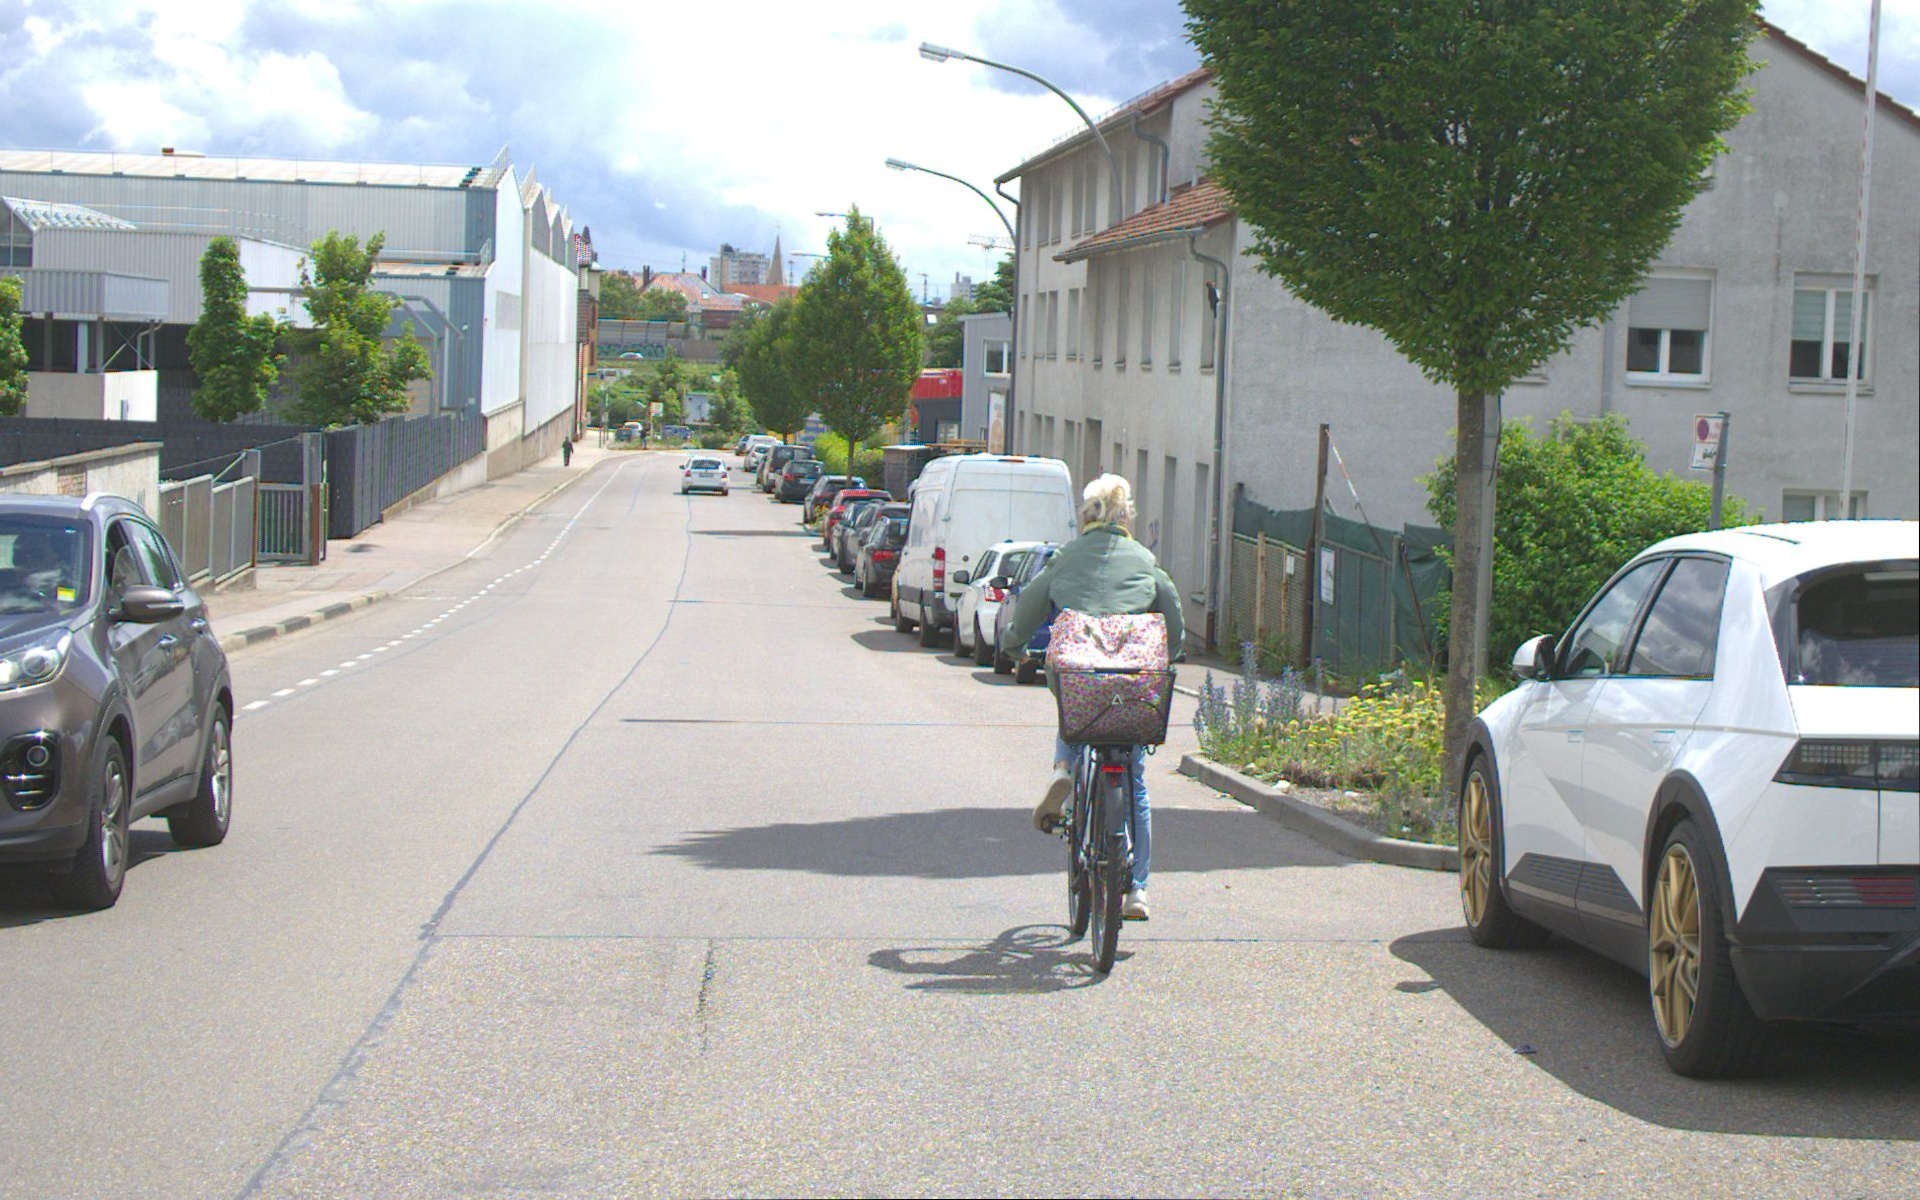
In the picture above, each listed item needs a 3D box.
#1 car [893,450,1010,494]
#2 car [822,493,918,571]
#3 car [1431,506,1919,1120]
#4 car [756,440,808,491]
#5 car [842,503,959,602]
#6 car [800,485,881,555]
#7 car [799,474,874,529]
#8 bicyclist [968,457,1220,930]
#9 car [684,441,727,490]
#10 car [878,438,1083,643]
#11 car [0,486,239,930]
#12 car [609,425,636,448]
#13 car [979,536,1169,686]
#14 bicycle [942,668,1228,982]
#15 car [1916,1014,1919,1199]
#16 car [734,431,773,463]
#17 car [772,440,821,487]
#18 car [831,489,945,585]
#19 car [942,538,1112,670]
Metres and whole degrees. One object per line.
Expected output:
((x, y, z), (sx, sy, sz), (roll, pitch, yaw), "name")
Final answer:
((-0.309, -4.448, 119.147), (1.720, 1.457, 4.073), (-4, 4, -43), "car")
((-2.028, -1.528, 76.031), (1.734, 1.418, 4.862), (3, 3, -6), "car")
((2.821, 0.506, 10.996), (1.842, 1.560, 4.466), (0, 1, -2), "car")
((-7.251, -5.495, 139.940), (1.869, 1.983, 5.145), (2, 2, -5), "car")
((-1.165, -0.928, 64.907), (1.704, 1.504, 5.089), (4, 3, -6), "car")
((-2.919, -1.953, 83.203), (1.734, 1.467, 4.263), (2, 3, -4), "car")
((-3.580, -2.852, 98.639), (1.791, 1.460, 4.710), (2, 2, -6), "car")
((0.468, 0.321, 12.293), (0.739, 1.621, 0.732), (2, 1, -7), "bicyclist")
((-9.712, -5.113, 131.035), (1.566, 1.780, 3.606), (2, 1, -5), "car")
((0.190, -0.847, 48.648), (2.033, 2.632, 7.285), (2, 1, -6), "car")
((-4.251, 0.344, 14.526), (1.799, 1.616, 4.093), (0, 1, -4), "car")
((-24.550, -11.887, 250.178), (1.852, 1.481, 4.001), (2, 1, -5), "car")
((1.196, 0.082, 37.689), (1.566, 1.505, 4.095), (2, 1, -5), "car")
((0.415, 0.771, 12.352), (0.740, 0.972, 1.733), (2, 1, -7), "bicycle")
((3.069, 0.612, 5.249), (1.685, 1.653, 4.481), (1, 1, -4), "car")
((-11.054, -8.174, 183.914), (1.701, 1.522, 3.739), (4, 2, -8), "car")
((-5.960, -4.987, 125.260), (1.679, 1.632, 4.124), (2, 2, -3), "car")
((-1.512, -1.326, 70.470), (1.676, 1.632, 4.798), (3, 3, -8), "car")
((0.784, 0.019, 42.522), (1.592, 1.505, 3.791), (2, 1, -6), "car")
